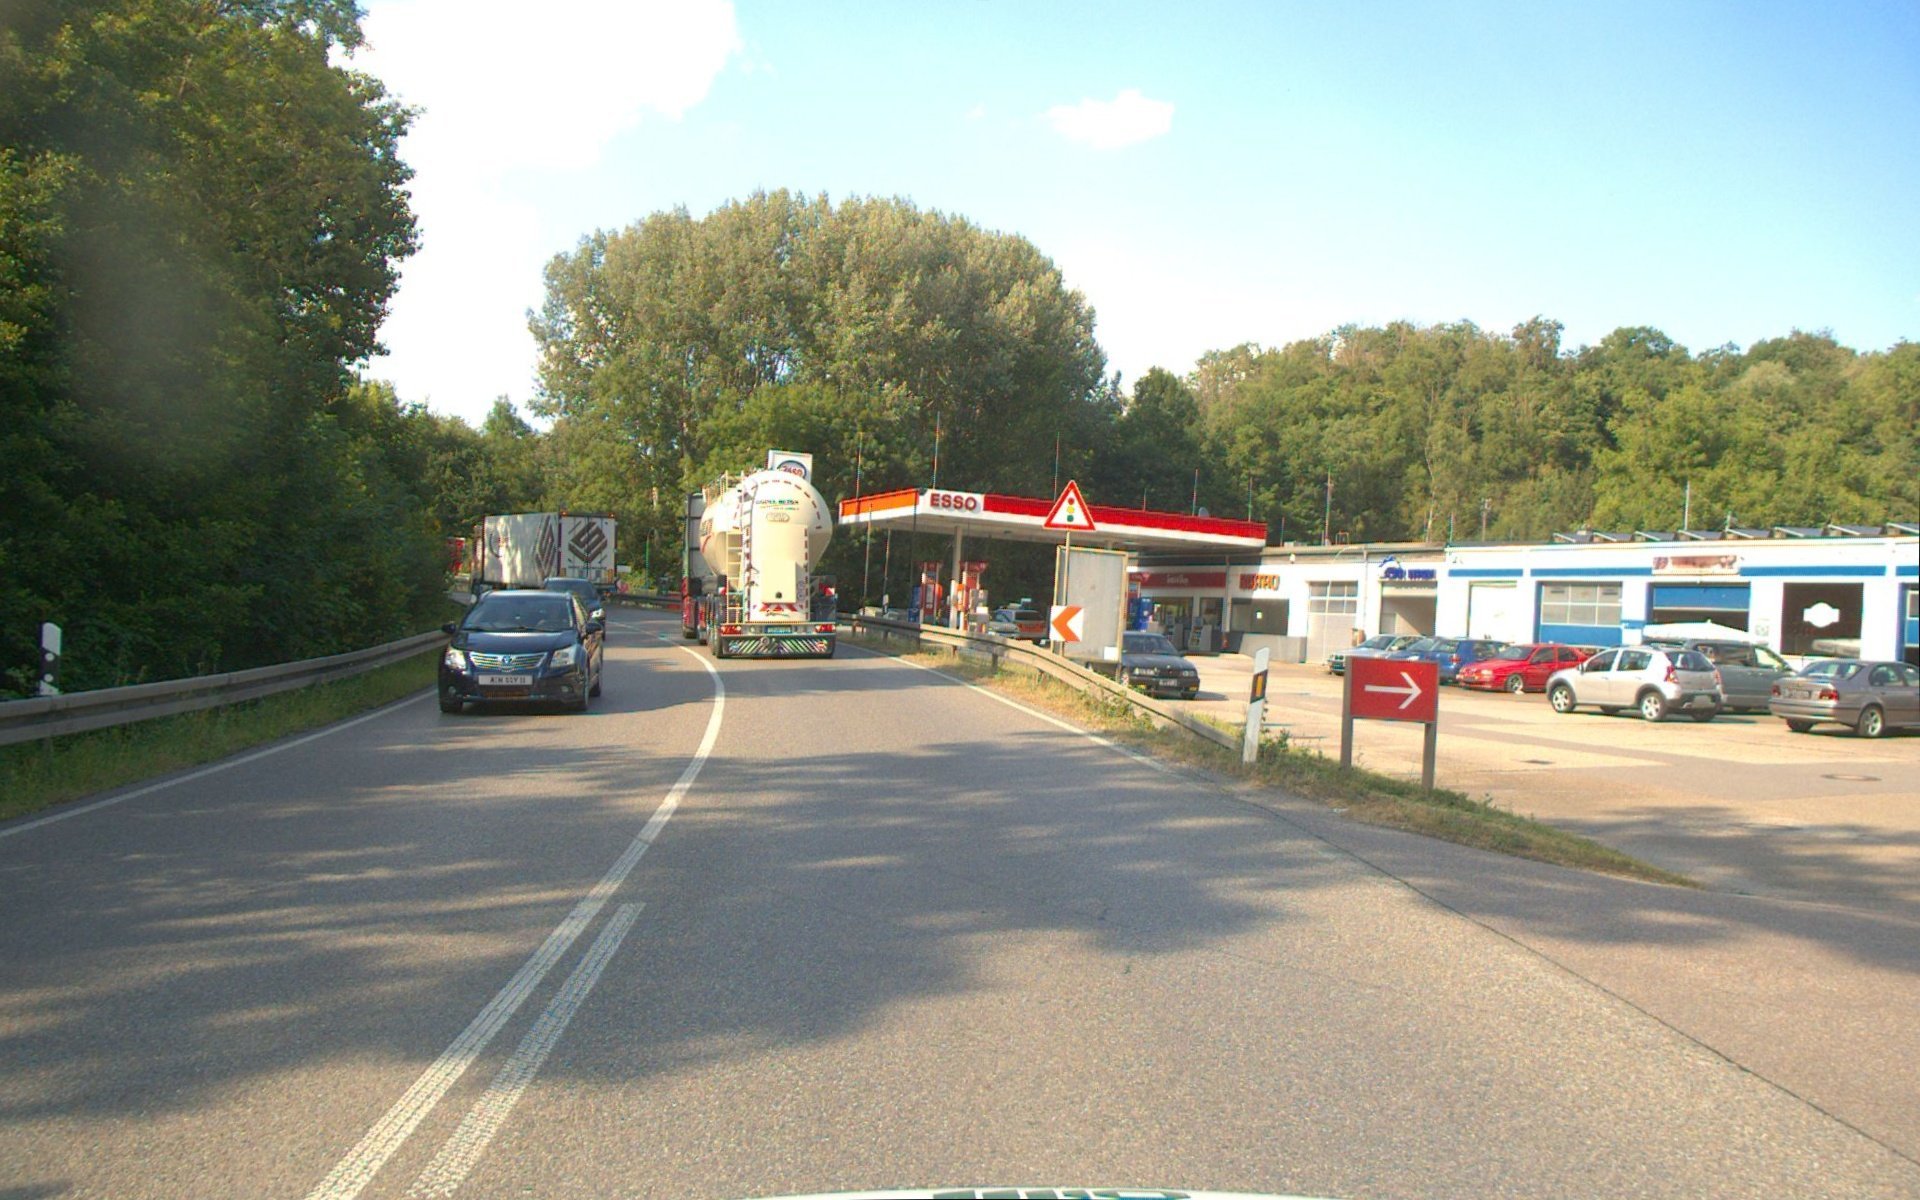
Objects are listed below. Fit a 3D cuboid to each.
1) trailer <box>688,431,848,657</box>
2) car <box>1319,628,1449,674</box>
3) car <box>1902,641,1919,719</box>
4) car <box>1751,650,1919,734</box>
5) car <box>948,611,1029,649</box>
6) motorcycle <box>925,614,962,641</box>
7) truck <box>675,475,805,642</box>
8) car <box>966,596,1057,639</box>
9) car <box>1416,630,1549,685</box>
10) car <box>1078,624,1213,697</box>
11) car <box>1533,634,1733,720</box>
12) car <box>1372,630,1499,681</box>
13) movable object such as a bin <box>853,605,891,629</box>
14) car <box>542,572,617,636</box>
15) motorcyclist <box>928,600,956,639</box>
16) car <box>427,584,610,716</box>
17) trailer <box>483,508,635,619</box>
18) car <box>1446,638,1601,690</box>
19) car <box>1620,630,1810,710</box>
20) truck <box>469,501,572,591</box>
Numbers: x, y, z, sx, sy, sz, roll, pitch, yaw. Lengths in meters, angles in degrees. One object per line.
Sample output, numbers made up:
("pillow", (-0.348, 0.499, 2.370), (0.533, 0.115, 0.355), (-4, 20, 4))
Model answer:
("trailer", (-4.650, -1.170, 38.222), (2.836, 4.532, 9.578), (0, 0, -12))
("car", (13.857, 1.669, 54.003), (3.908, 1.378, 1.762), (1, 0, -27))
("car", (22.397, 1.727, 35.391), (3.932, 1.638, 1.882), (0, 1, -23))
("car", (18.275, 1.786, 33.059), (4.658, 1.459, 1.943), (0, 1, -25))
("car", (1.139, 1.216, 68.157), (1.816, 1.342, 4.362), (3, 0, -21))
("motorcycle", (-0.704, 1.168, 71.153), (0.751, 1.029, 2.325), (3, 0, -22))
("truck", (-5.947, -1.052, 43.921), (2.776, 4.105, 5.872), (0, 0, -14))
("car", (2.243, 0.748, 73.529), (2.064, 1.656, 5.144), (3, 0, -23))
("car", (15.673, 1.726, 49.621), (3.495, 1.471, 1.722), (3, 0, -23))
("car", (4.123, 1.320, 37.445), (1.792, 1.376, 4.260), (2, 0, -12))
("car", (14.829, 1.652, 36.666), (1.768, 1.624, 3.956), (0, 1, -26))
("car", (14.818, 1.730, 51.589), (3.501, 1.431, 1.680), (3, 0, -23))
("movable object such as a bin", (-5.830, 1.119, 109.983), (1.256, 1.444, 2.525), (6, -2, -36))
("car", (-10.056, 0.078, 43.848), (1.835, 1.617, 4.235), (0, 1, -13))
("motorcyclist", (-0.770, 0.852, 71.380), (0.846, 1.633, 0.921), (3, 0, -22))
("car", (-5.658, 0.565, 21.689), (1.816, 1.534, 4.395), (0, 1, -9))
("trailer", (-18.539, -1.532, 75.586), (3.506, 4.592, 12.861), (1, 0, -28))
("car", (16.233, 1.825, 47.676), (4.011, 1.371, 1.882), (1, 1, -23))
("car", (18.052, 1.626, 39.559), (4.193, 1.759, 1.877), (0, 1, -25))
("truck", (-21.759, -2.565, 81.591), (3.412, 4.158, 6.428), (1, 0, -29))
